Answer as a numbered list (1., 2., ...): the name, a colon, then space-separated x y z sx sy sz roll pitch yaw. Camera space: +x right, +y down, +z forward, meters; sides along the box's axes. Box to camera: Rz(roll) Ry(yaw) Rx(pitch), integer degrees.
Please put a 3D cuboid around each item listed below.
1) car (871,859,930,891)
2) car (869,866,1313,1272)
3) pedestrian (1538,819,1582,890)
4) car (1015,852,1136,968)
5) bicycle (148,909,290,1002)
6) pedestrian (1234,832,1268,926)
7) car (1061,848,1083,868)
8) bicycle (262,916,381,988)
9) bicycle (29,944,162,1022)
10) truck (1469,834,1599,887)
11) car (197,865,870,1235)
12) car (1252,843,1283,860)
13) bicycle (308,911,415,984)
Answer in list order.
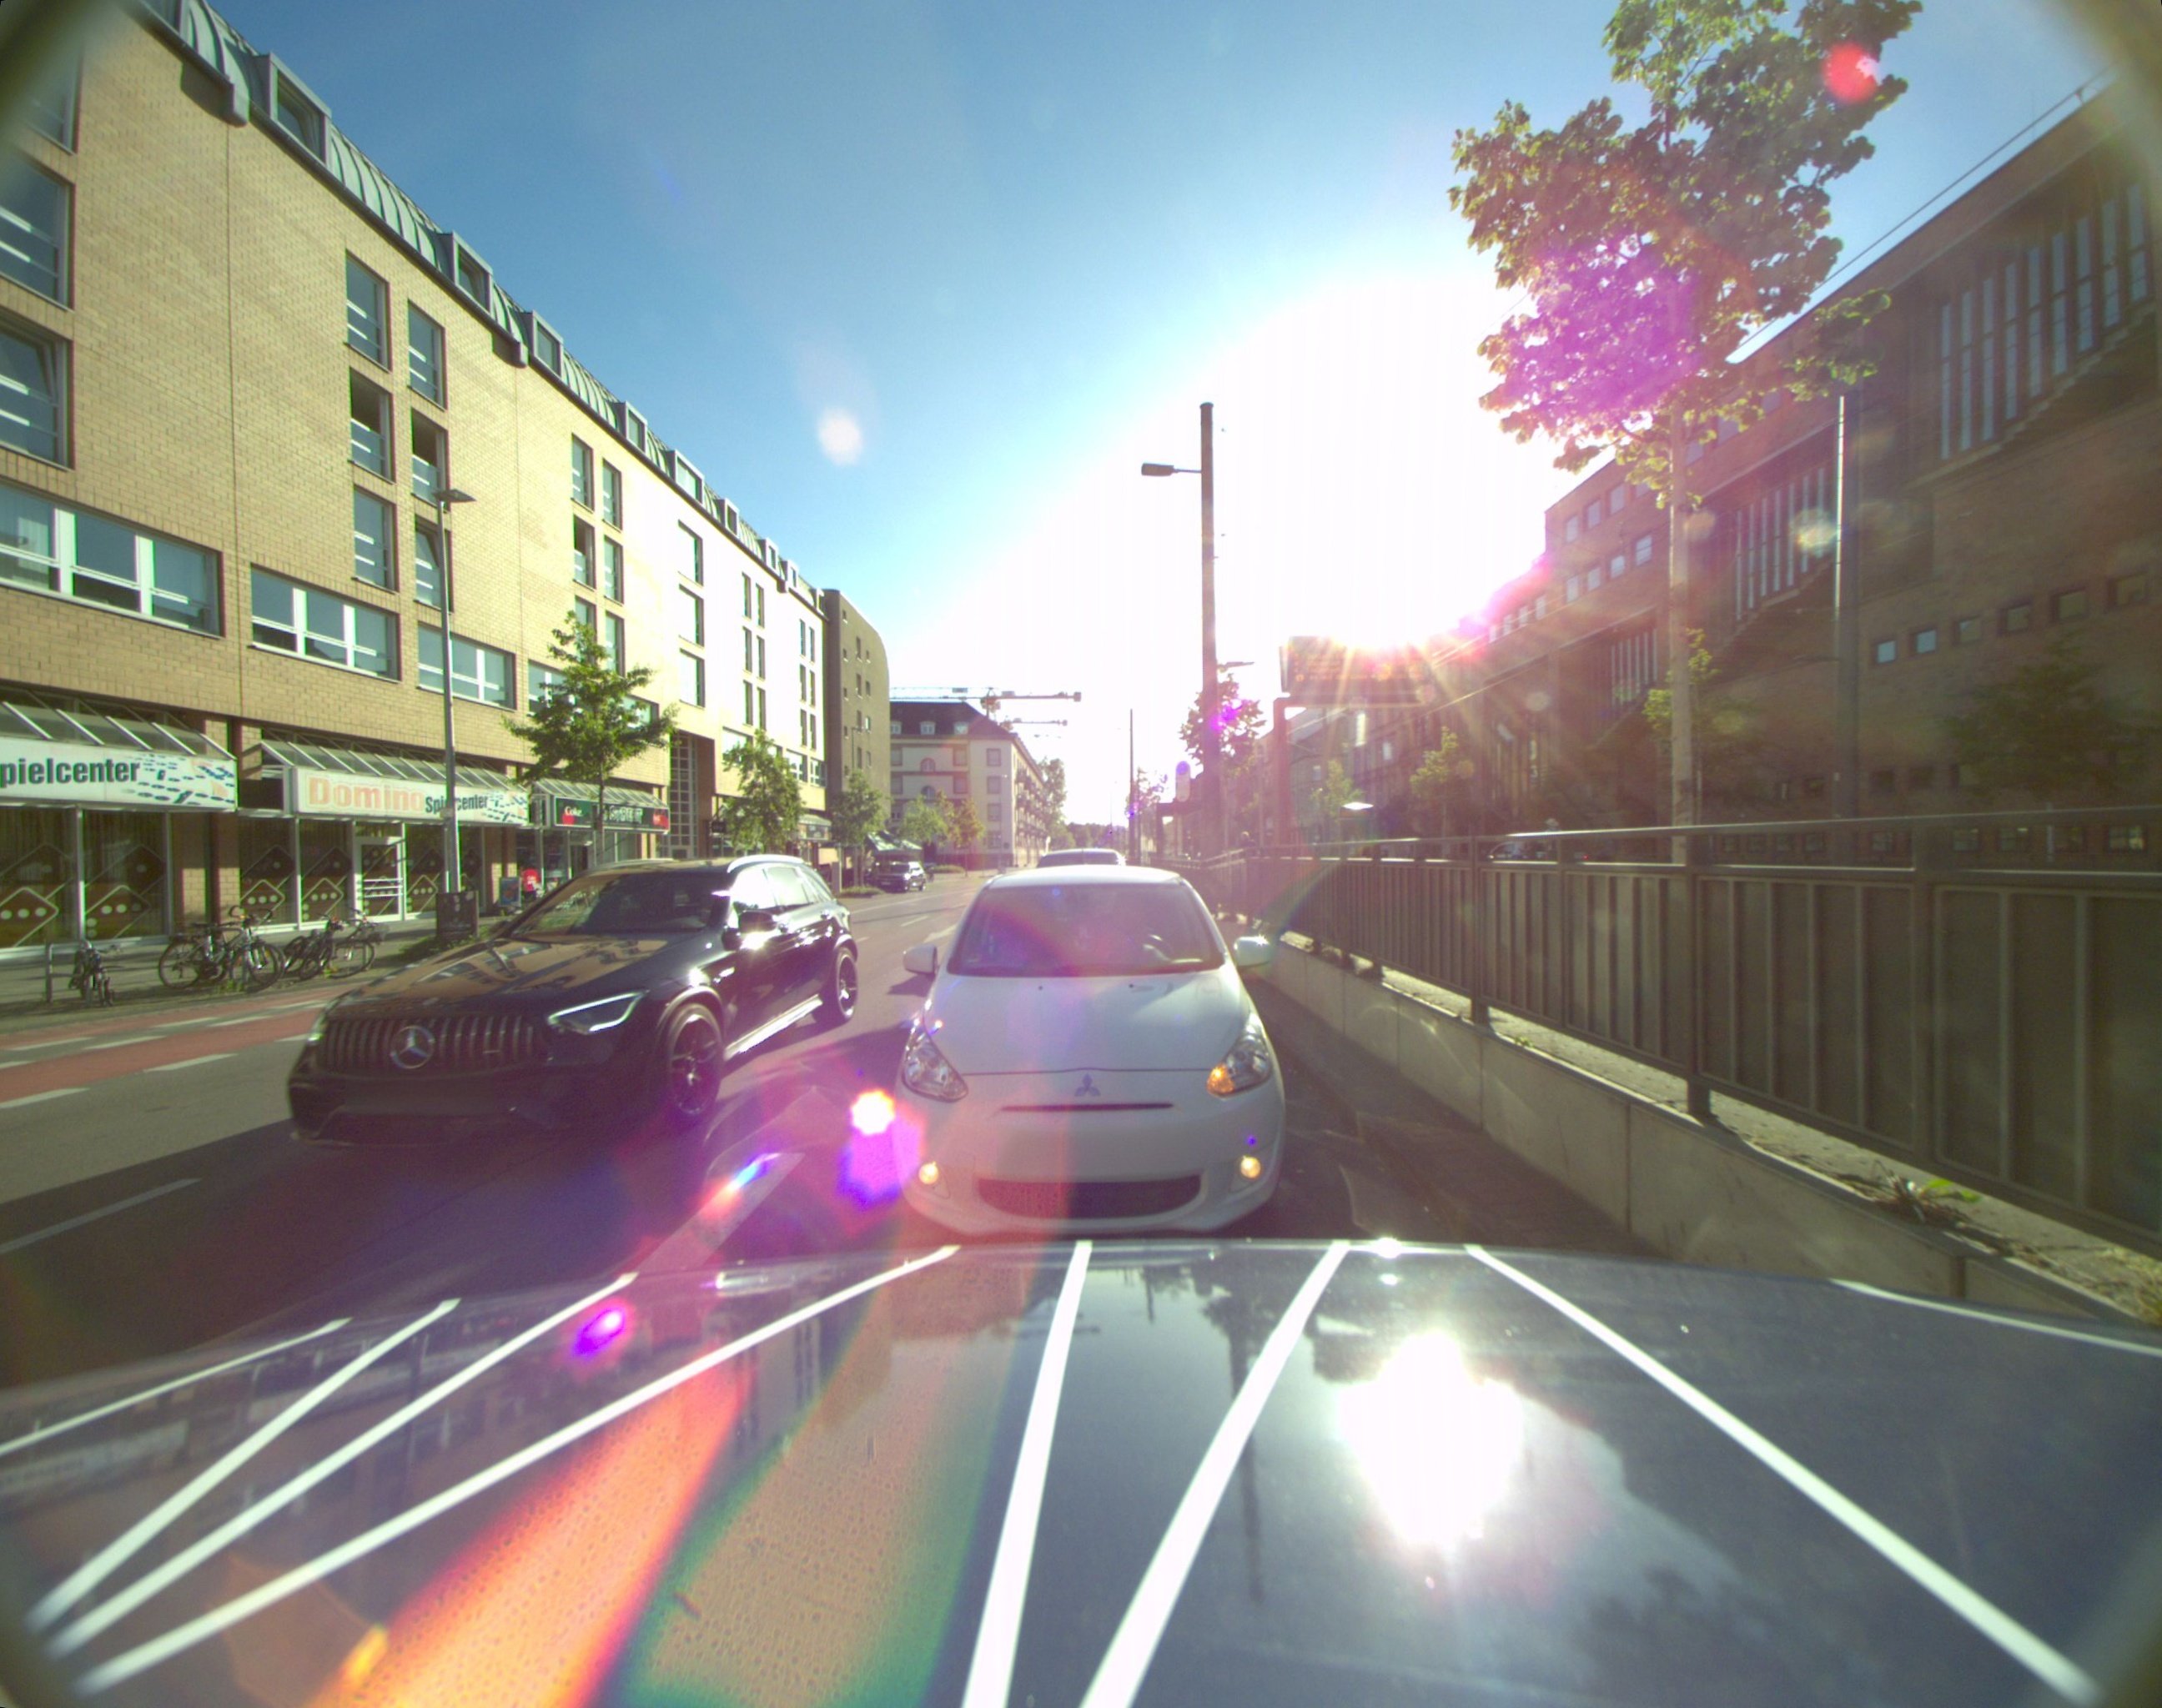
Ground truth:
1. car: -9.821 1.123 41.650 1.778 1.630 4.002 -1 0 9
2. car: 0.042 0.899 5.152 1.720 1.422 4.215 -2 1 0
3. pedestrian: 12.631 0.006 20.041 0.685 1.797 0.668 -2 2 0
4. car: -0.087 0.819 13.368 1.720 1.591 4.215 -2 1 0
5. bicycle: -12.352 1.425 10.886 1.835 1.156 0.565 1 2 15
6. pedestrian: 4.507 0.647 20.187 0.684 2.428 0.626 -2 2 -2
7. car: -0.930 0.410 80.428 2.164 1.904 4.472 -2 0 0
8. bicycle: -12.014 1.536 12.021 1.835 0.980 0.449 1 2 15
9. bicycle: -12.626 1.630 9.735 1.772 0.827 0.366 1 2 15
10. truck: 17.610 0.248 29.917 1.999 1.868 5.155 1 0 0
11. car: -3.211 0.966 5.824 1.808 1.586 4.453 -3 0 1
12. car: 17.888 -0.305 73.190 1.830 1.559 4.693 0 1 0
13. bicycle: -11.834 1.519 12.493 1.835 1.050 0.350 1 2 15
